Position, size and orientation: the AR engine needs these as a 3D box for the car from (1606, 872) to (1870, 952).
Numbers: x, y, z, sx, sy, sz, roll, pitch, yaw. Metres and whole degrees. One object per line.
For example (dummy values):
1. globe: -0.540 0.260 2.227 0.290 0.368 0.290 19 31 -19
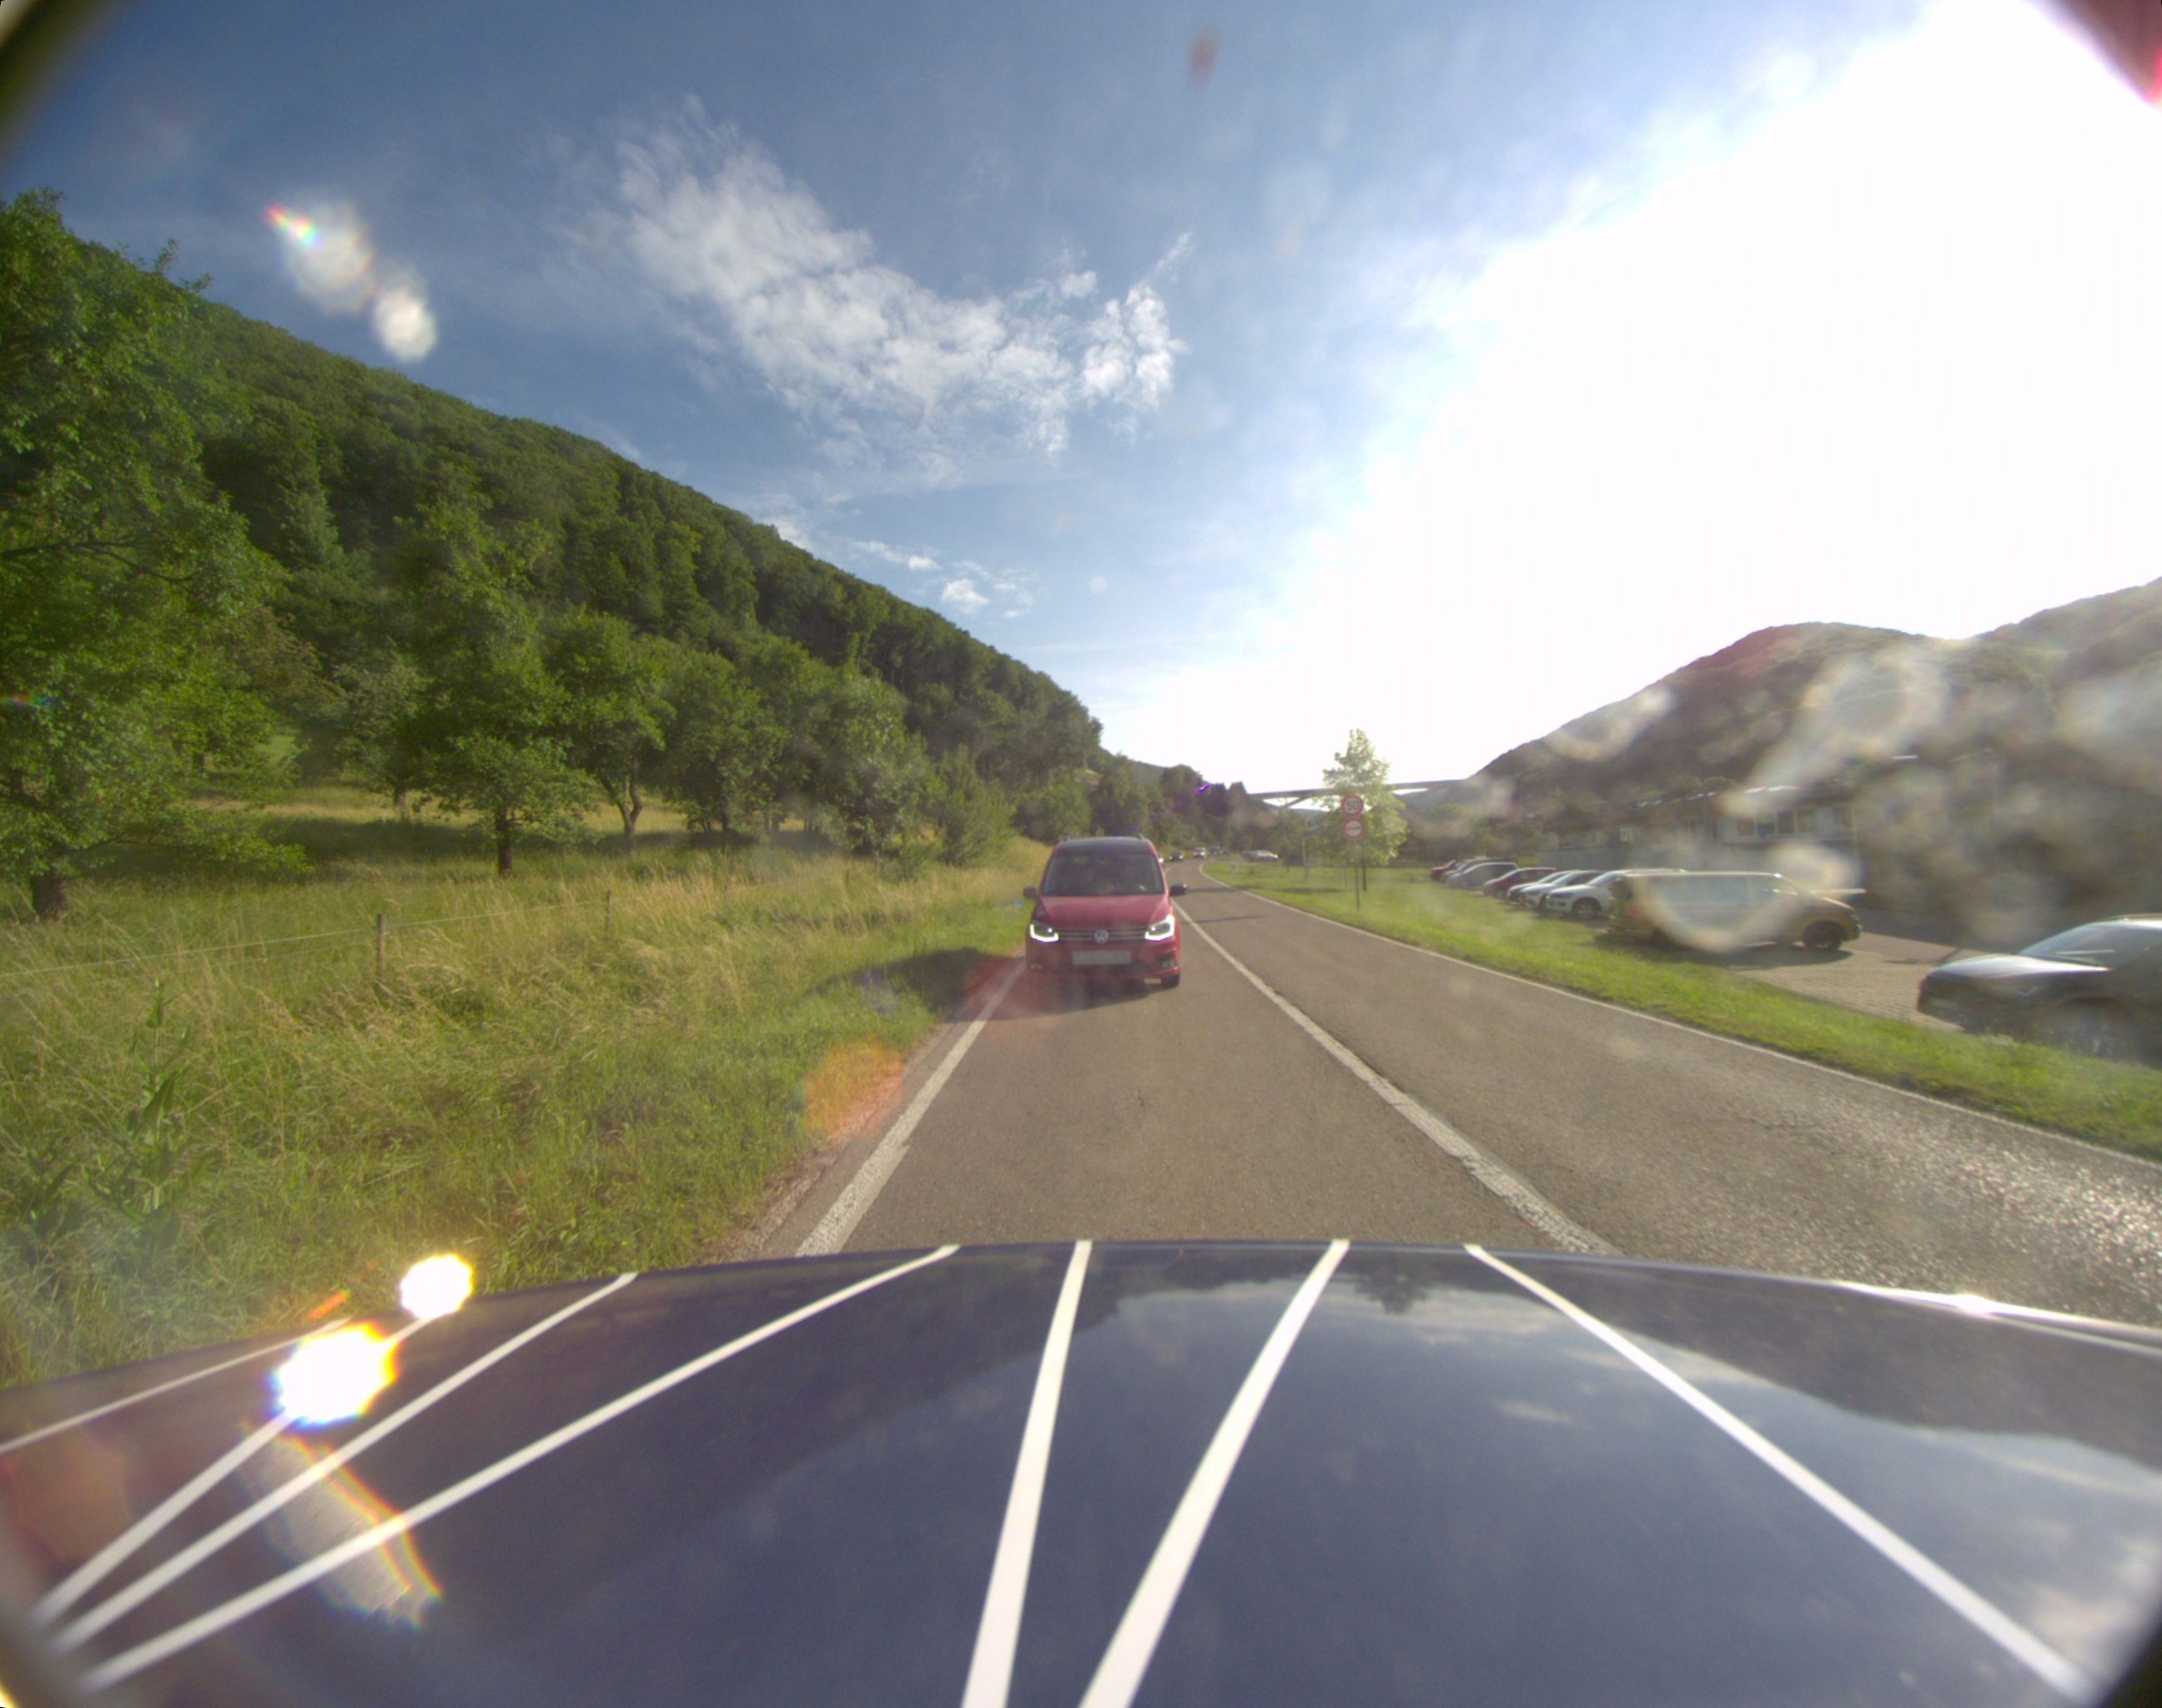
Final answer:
1. car: 16.376 1.395 19.287 4.653 1.802 2.003 -1 0 20

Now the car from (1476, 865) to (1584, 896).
1. car: 22.674 1.332 38.563 4.437 1.443 2.003 -1 0 20

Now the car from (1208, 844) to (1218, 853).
1. car: 26.332 -1.089 151.368 1.677 1.637 3.350 -2 0 16

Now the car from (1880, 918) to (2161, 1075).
1. car: 13.490 1.724 9.590 4.289 1.628 1.915 -3 0 15

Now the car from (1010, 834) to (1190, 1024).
1. car: 0.216 0.772 9.772 1.747 1.849 4.348 -2 0 1

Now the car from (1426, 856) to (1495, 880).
1. car: 28.853 1.064 57.850 4.437 1.709 2.003 -1 0 18

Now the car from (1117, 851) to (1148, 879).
1. car: 3.023 0.633 44.928 1.693 1.539 4.001 -2 0 3

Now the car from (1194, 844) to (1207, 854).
1. car: 21.108 -0.861 134.100 1.796 1.725 4.289 -2 0 17

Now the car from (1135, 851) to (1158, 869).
1. car: 5.826 0.503 67.217 1.798 1.464 4.286 -2 0 8

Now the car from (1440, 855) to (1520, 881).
1. car: 27.566 0.963 52.675 4.665 1.752 2.003 -1 0 18

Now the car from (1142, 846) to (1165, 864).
1. car: 7.657 0.118 79.923 1.997 1.838 4.003 -2 -1 9

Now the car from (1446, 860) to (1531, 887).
1. car: 25.771 1.219 48.213 4.437 1.573 2.003 -2 0 18

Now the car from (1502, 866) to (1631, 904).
1. car: 21.383 1.343 33.687 4.437 1.573 2.003 -1 0 18

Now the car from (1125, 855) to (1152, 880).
1. car: 4.386 0.997 57.157 1.901 1.717 4.002 -2 0 5

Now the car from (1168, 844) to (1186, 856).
1. car: 13.694 -0.519 107.706 1.910 1.675 4.005 -2 -1 16

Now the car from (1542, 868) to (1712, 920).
1. car: 19.302 1.383 27.134 4.545 1.691 2.003 -1 0 20

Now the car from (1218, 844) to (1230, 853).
1. car: 31.217 -1.248 165.513 1.996 1.706 4.006 -3 -2 17

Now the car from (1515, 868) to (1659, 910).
1. car: 20.175 1.389 30.532 4.437 1.577 2.003 -1 0 20

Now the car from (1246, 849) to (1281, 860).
1. car: 25.451 0.051 106.067 4.781 1.518 1.995 -1 0 -33
